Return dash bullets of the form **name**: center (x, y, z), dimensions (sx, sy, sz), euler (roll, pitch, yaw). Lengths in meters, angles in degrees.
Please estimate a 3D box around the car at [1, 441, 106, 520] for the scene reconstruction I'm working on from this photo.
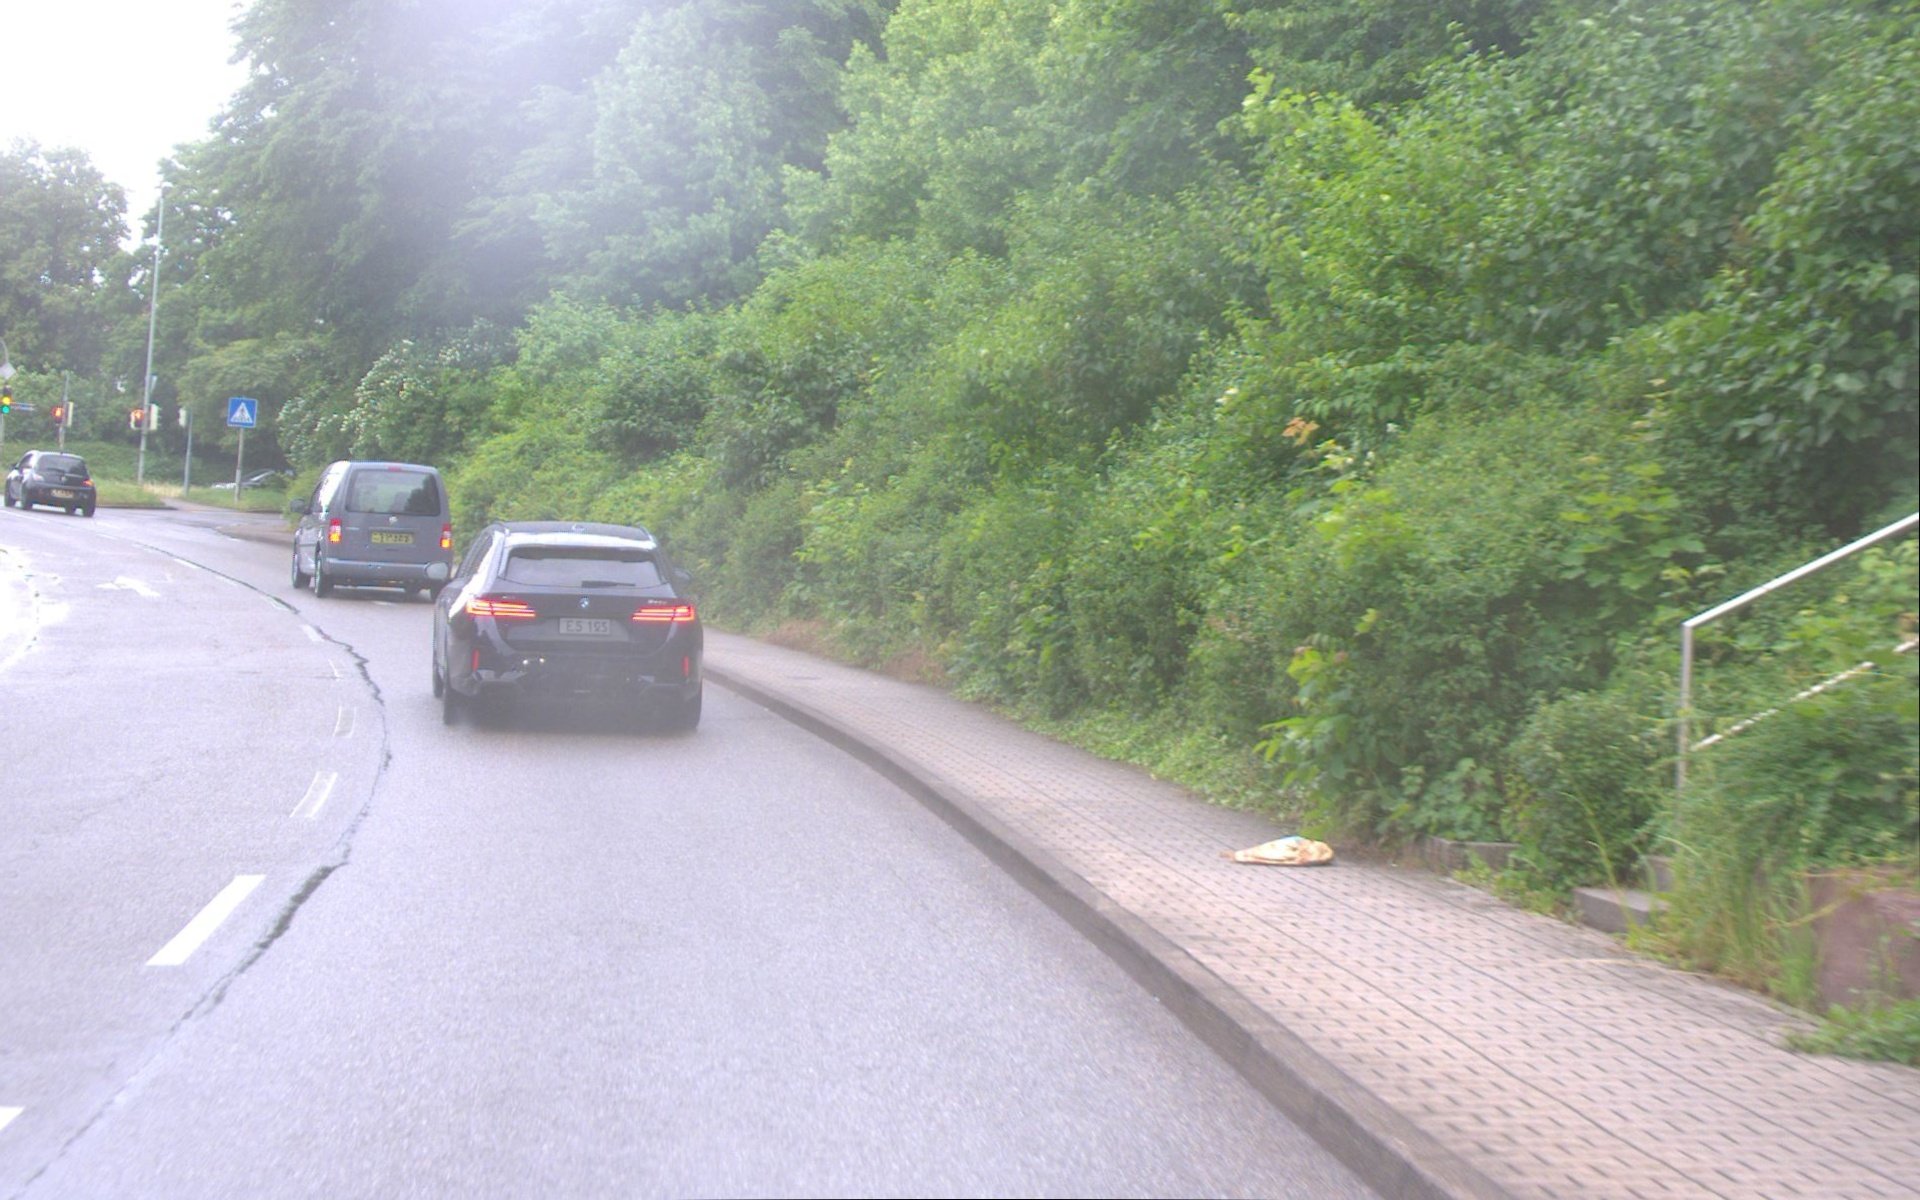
- **car**: center (-21.999, -2.878, 83.346), dimensions (1.850, 1.656, 4.001), euler (4, -2, -22)

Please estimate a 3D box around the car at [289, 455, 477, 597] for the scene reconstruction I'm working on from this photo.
- **car**: center (-7.815, -1.030, 46.311), dimensions (1.993, 1.742, 4.002), euler (2, 2, -16)

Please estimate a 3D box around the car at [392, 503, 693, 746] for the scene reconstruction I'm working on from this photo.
- **car**: center (-3.211, 0.139, 26.363), dimensions (1.993, 1.581, 4.664), euler (4, 0, -7)
